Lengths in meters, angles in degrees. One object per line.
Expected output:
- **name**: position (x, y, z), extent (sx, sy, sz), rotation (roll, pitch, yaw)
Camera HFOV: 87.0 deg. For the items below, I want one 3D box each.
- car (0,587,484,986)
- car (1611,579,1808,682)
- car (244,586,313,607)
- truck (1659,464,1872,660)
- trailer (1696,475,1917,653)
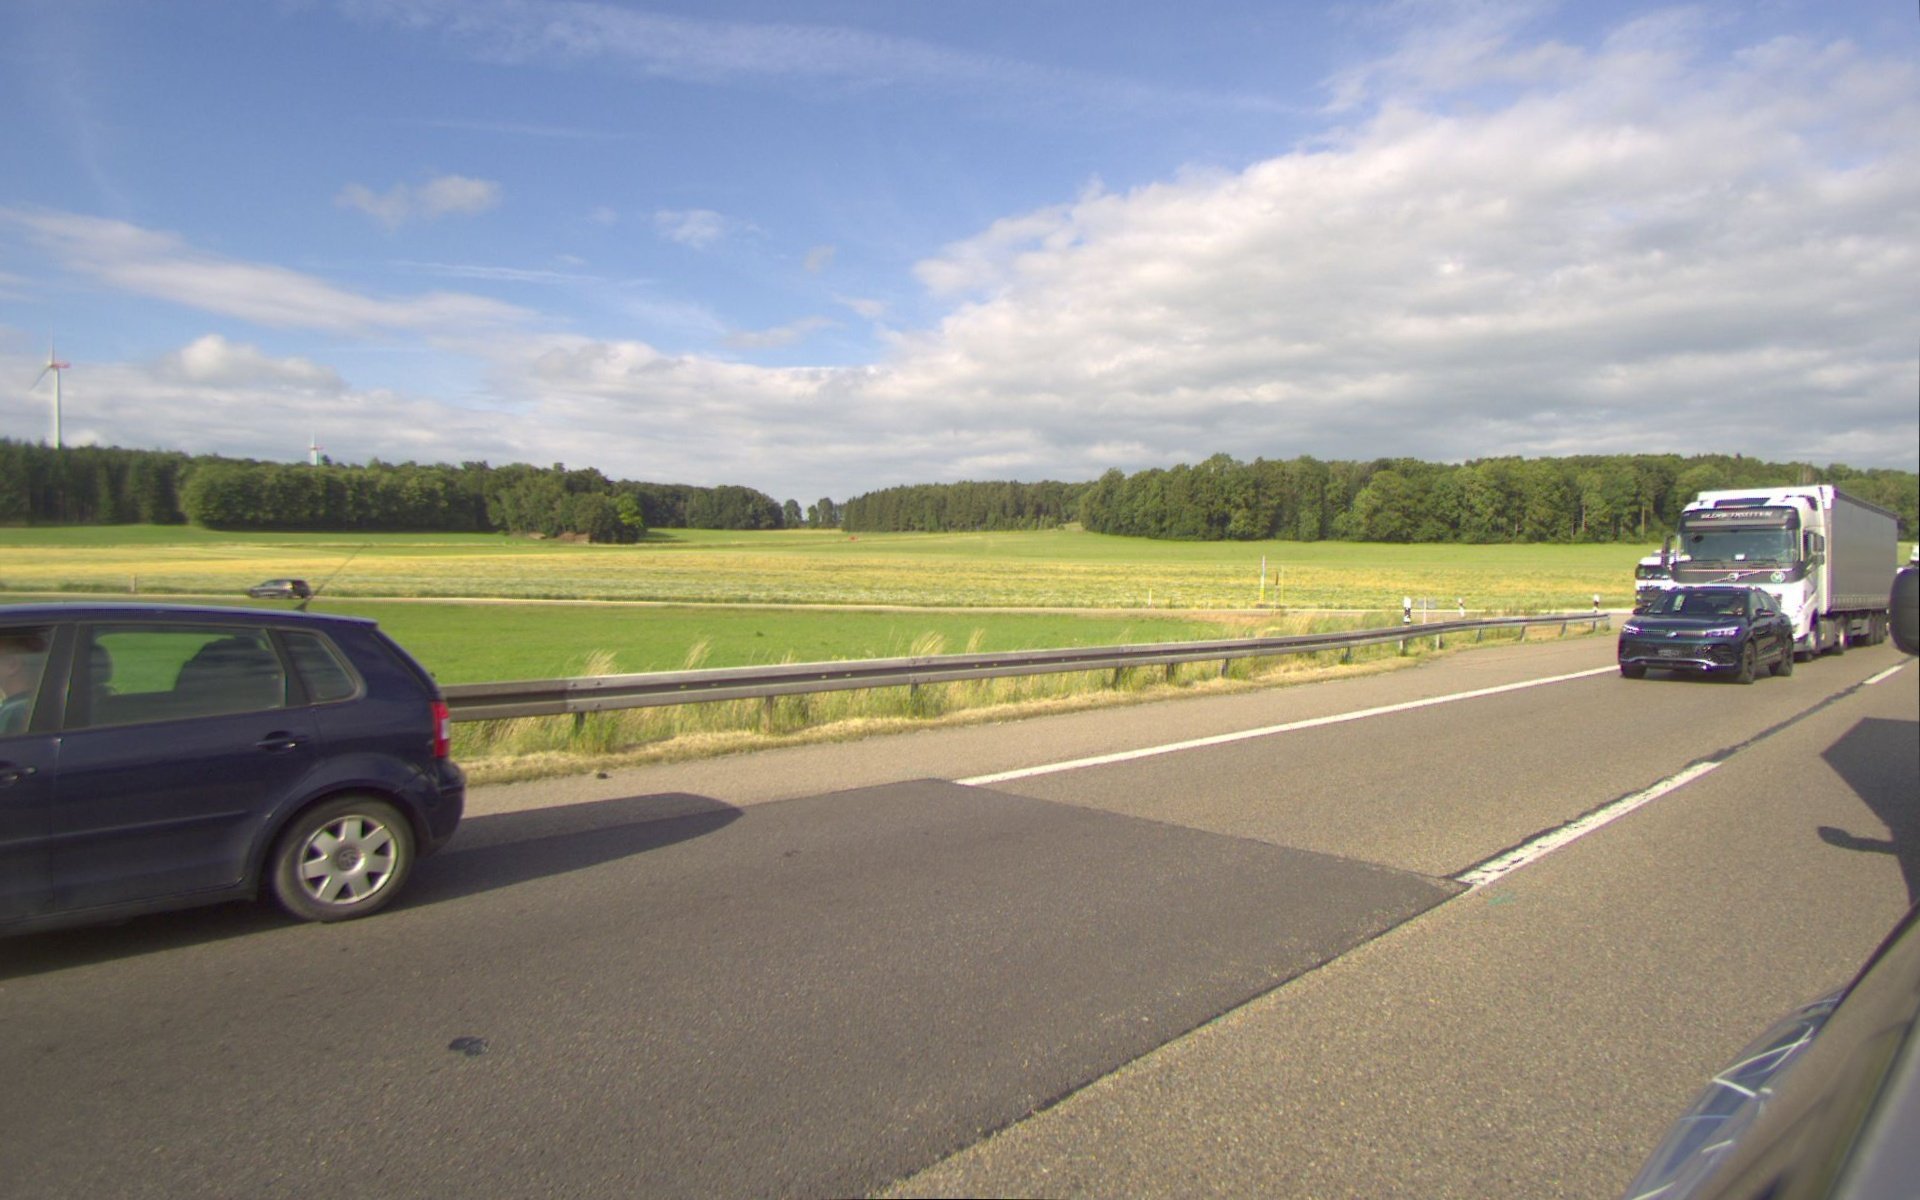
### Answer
- **car**: position (-4.224, 0.686, 4.253), extent (3.710, 1.464, 1.712), rotation (-1, 1, -42)
- **car**: position (13.396, 0.447, 18.013), extent (4.047, 1.616, 1.997), rotation (-1, 1, -41)
- **car**: position (-49.640, -0.284, 73.762), extent (4.154, 1.505, 1.832), rotation (0, 0, 12)
- **truck**: position (19.294, -0.821, 24.103), extent (6.387, 4.040, 2.840), rotation (-1, 0, -41)
- **trailer**: position (23.636, -0.883, 27.878), extent (11.916, 4.032, 2.824), rotation (-1, 0, -41)
